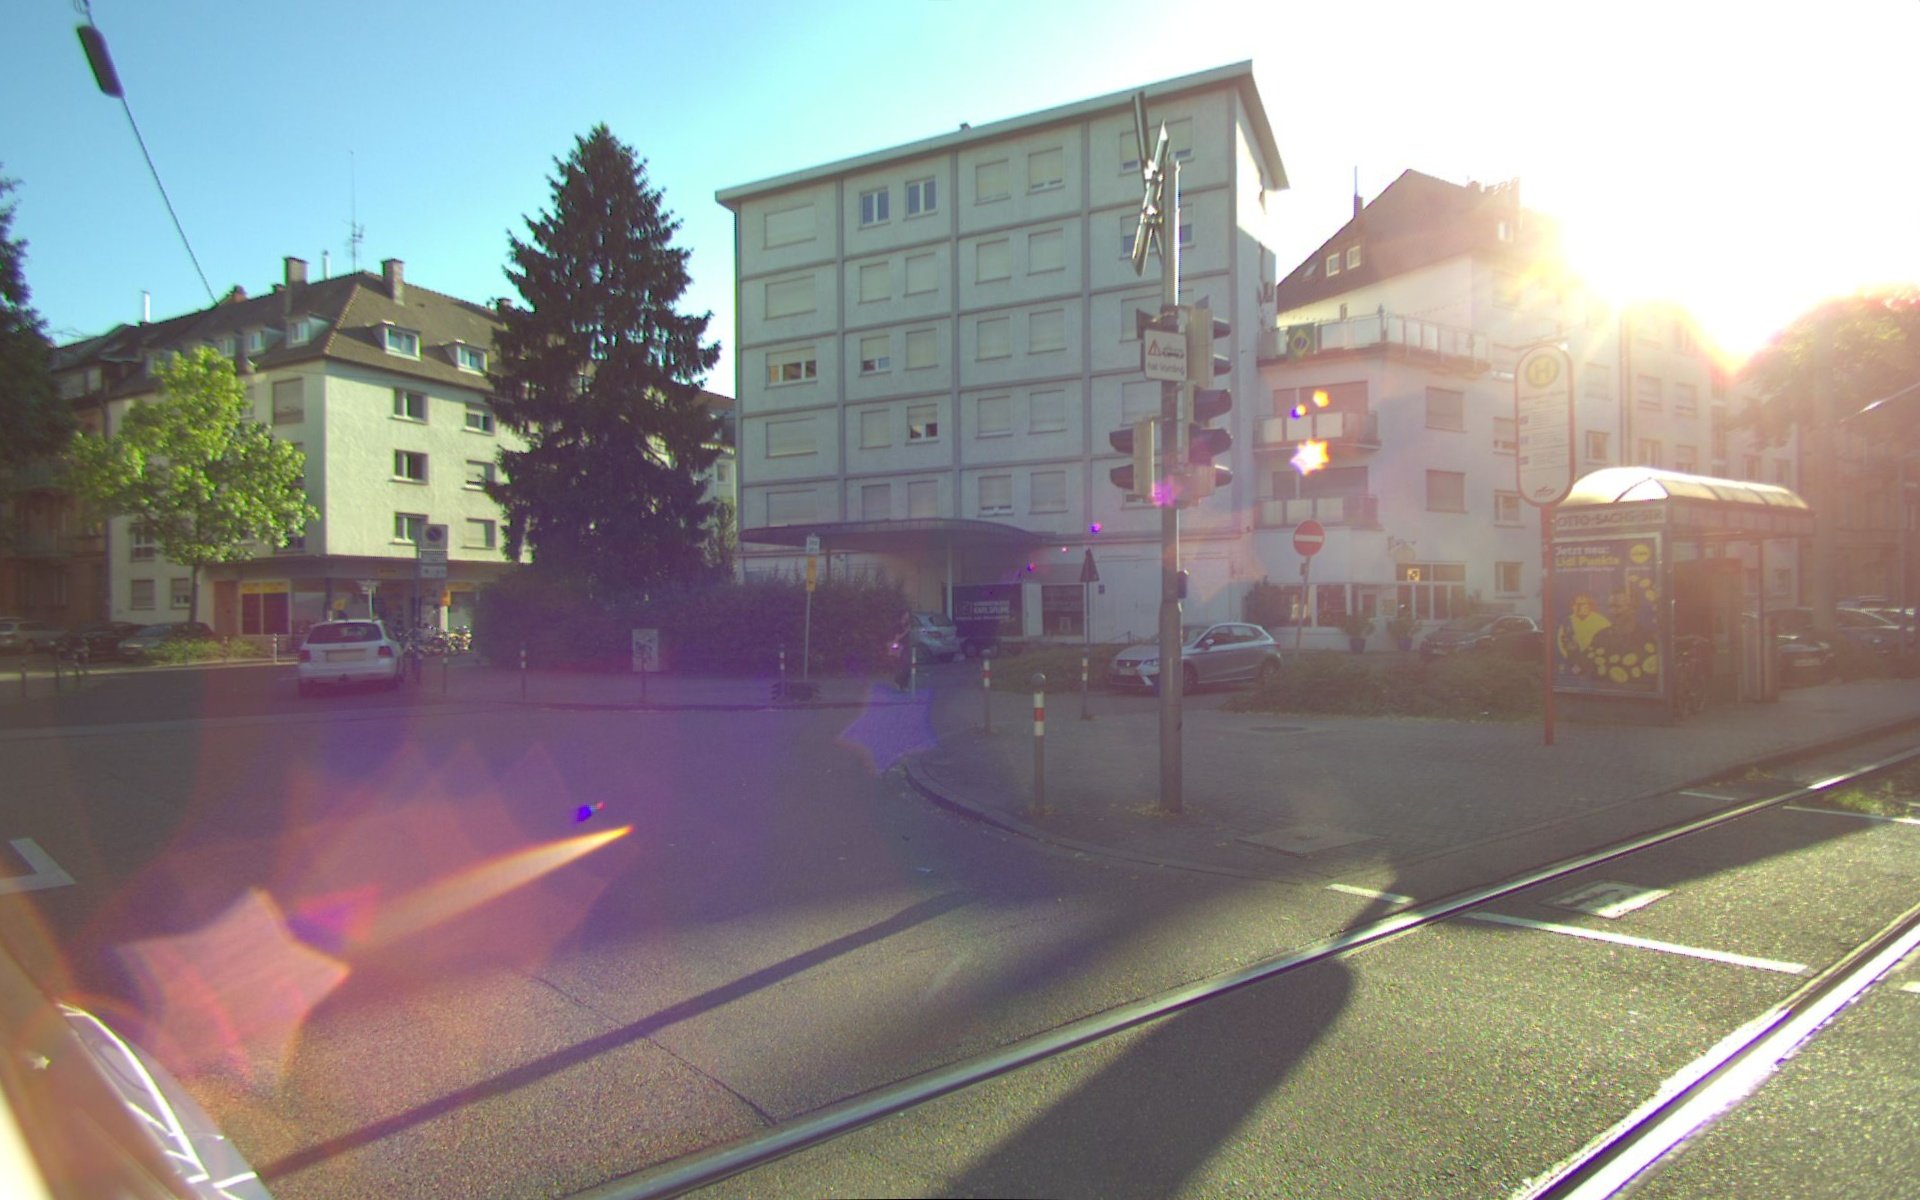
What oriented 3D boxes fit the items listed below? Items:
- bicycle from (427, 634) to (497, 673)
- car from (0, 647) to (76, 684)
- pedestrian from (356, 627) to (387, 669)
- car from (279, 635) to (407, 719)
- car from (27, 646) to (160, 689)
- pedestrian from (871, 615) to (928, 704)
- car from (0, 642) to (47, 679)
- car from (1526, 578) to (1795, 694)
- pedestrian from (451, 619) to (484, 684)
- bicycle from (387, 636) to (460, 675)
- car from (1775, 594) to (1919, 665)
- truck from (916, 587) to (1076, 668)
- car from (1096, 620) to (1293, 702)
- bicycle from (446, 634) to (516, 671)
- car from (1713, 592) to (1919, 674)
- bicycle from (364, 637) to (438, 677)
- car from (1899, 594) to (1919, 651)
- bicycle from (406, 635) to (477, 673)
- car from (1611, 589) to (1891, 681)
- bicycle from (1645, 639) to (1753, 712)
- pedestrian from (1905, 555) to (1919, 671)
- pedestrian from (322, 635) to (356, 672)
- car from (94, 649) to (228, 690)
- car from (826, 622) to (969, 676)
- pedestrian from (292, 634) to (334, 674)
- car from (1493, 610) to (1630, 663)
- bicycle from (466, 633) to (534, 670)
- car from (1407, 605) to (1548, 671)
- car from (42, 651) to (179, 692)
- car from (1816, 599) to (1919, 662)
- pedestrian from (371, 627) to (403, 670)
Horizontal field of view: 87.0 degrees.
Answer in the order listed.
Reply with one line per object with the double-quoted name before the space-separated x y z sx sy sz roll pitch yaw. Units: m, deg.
"bicycle" -20.618 2.190 41.845 3.365 1.456 0.872 0 -1 30
"car" -42.003 2.911 45.101 1.846 1.517 4.002 -2 -1 -3
"pedestrian" -26.566 2.162 45.708 0.847 1.889 0.883 -2 -2 26
"car" -12.716 1.520 21.091 1.890 1.461 4.309 -2 -1 -27
"car" -36.489 2.795 42.739 1.854 1.580 3.985 -2 -1 11
"pedestrian" -1.249 1.189 20.735 0.856 1.749 0.833 -1 0 -31
"car" -44.766 2.840 46.703 1.846 1.648 4.002 -2 -1 -3
"car" 11.817 0.715 17.500 1.586 1.665 4.238 -3 -5 1
"pedestrian" -15.784 1.650 32.440 0.848 2.029 0.989 -1 -2 -30
"bicycle" -21.140 2.164 39.856 3.365 1.456 0.872 -1 -1 30
"car" 21.887 0.696 23.791 1.583 1.470 4.245 -3 -5 -5
"truck" 1.198 0.953 34.003 4.946 2.554 1.982 -2 -2 27
"car" 4.896 1.221 20.983 3.933 1.457 1.720 -1 -3 -34
"bicycle" -20.179 2.177 42.583 3.365 1.456 0.872 0 -1 30
"car" 19.000 0.769 22.053 1.583 1.519 4.245 -3 -5 -5
"bicycle" -21.439 2.153 38.792 3.365 1.456 0.872 -1 -1 30
"car" 28.981 0.488 28.183 1.835 1.664 4.232 -4 -5 6
"bicycle" -21.002 2.164 40.973 3.365 1.456 0.872 0 -1 30
"car" 14.894 0.766 19.422 1.675 1.448 4.210 -3 -5 -5
"bicycle" 8.982 0.894 12.282 1.615 0.789 0.451 -1 -2 -31
"pedestrian" 16.377 0.202 16.679 0.823 1.925 0.853 -1 -2 -25
"pedestrian" -27.534 2.354 44.862 0.887 1.581 0.955 -2 -2 27
"car" -31.548 2.721 40.106 1.852 1.410 3.988 -2 -1 9
"car" -1.944 1.507 31.249 3.984 1.544 1.980 -2 -2 30
"pedestrian" -27.866 2.325 43.593 0.959 1.679 1.204 -2 -2 27
"car" 18.553 1.116 31.216 3.931 1.457 1.721 -1 -2 -27
"bicycle" -19.723 2.195 43.375 3.365 1.456 0.872 0 -1 30
"car" 14.732 1.066 28.781 3.932 1.686 1.721 -1 -3 -32
"car" -33.948 2.824 40.597 1.852 1.410 3.988 -2 -1 9
"car" 23.985 0.709 25.046 1.583 1.470 4.245 -3 -5 -5
"pedestrian" -25.705 2.157 45.400 0.847 1.889 0.883 -2 -2 26
